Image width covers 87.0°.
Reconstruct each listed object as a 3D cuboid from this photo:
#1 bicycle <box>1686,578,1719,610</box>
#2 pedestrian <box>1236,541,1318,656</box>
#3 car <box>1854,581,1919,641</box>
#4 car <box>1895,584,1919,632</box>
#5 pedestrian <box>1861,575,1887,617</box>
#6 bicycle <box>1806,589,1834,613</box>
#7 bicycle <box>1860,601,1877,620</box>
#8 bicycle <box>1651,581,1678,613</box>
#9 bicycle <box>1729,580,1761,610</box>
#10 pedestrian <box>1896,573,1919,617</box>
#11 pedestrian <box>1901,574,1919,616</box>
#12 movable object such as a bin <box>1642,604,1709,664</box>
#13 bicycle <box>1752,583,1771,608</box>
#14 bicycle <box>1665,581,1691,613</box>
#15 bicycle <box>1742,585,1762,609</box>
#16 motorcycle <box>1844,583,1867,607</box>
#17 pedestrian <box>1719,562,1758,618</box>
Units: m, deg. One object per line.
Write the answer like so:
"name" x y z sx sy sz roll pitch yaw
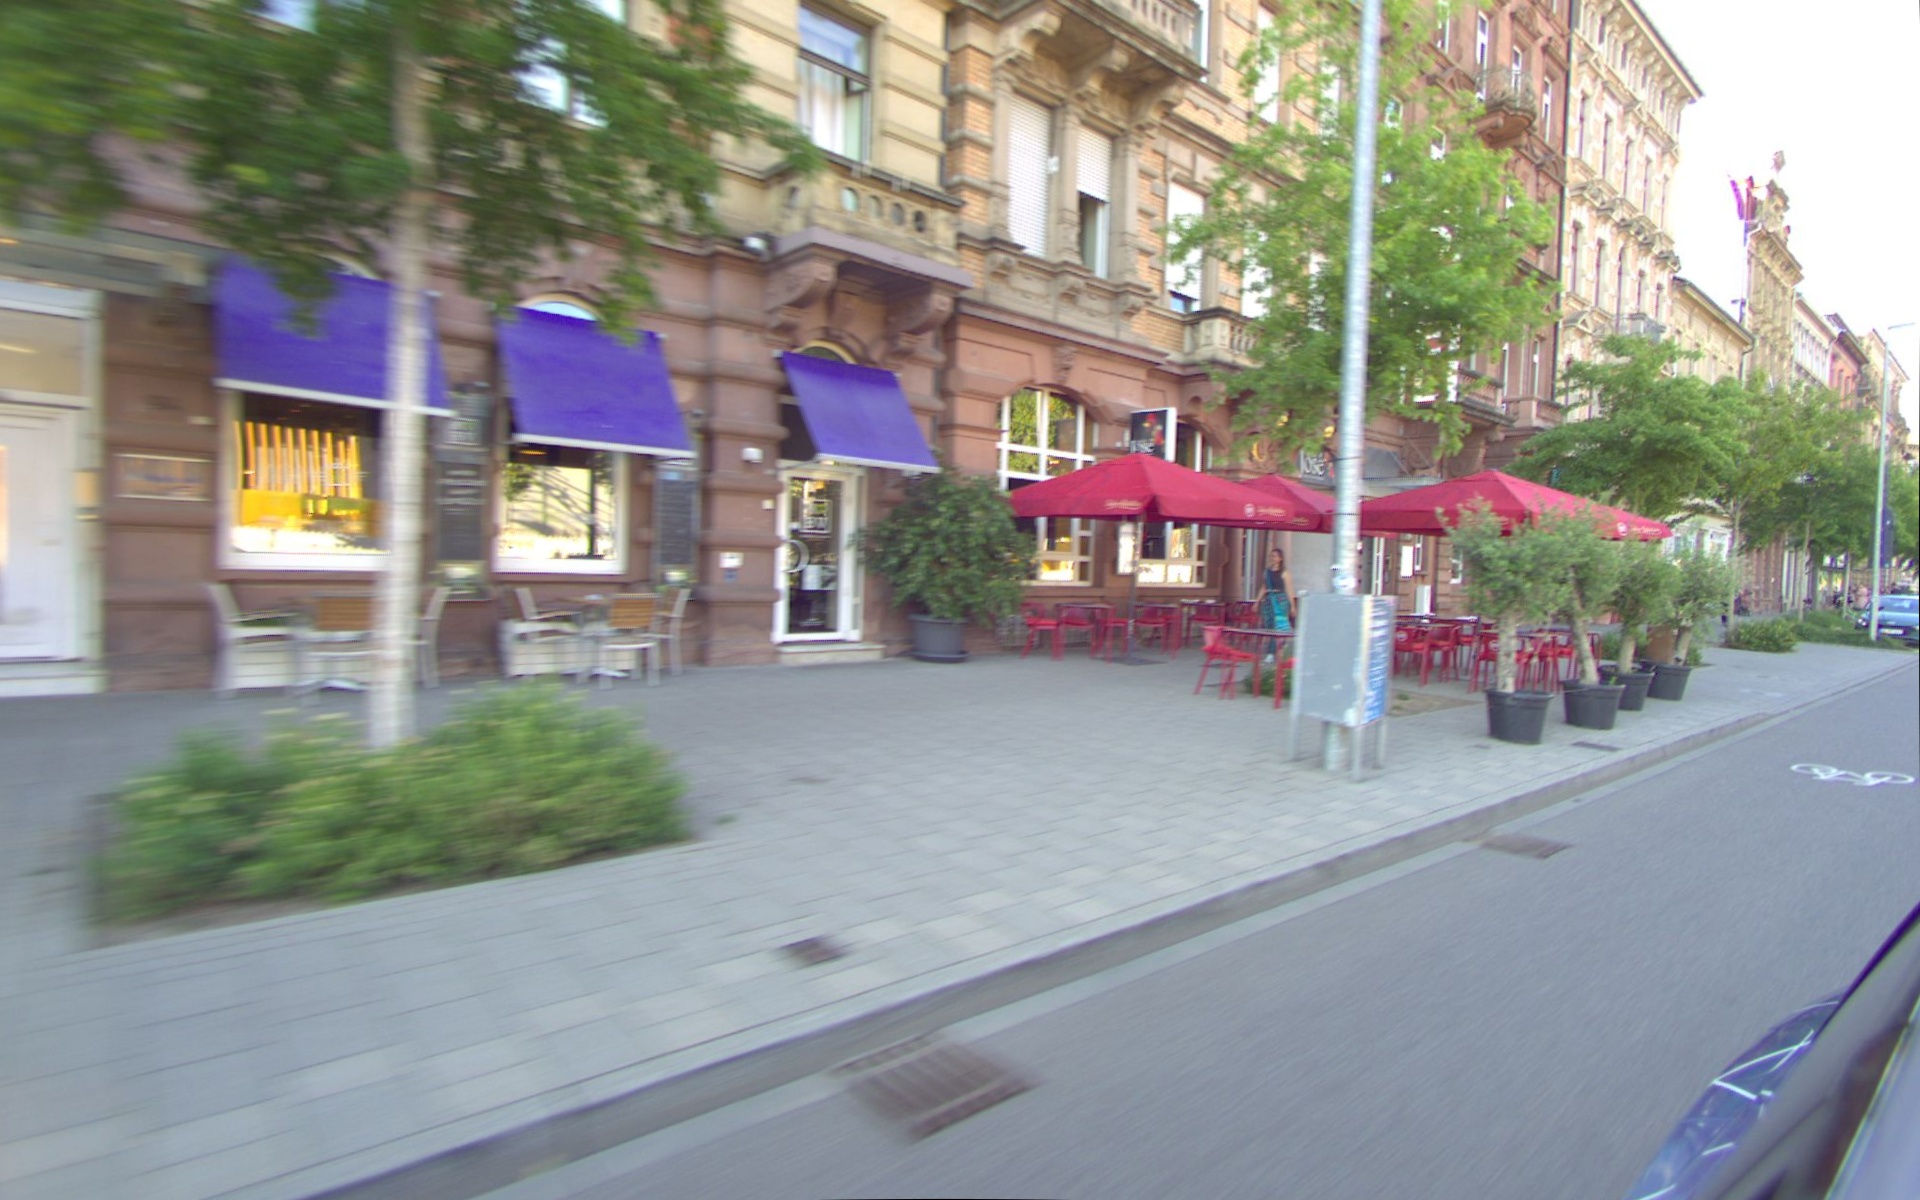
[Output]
"bicycle" 28.536 -0.246 38.886 0.719 1.210 1.744 3 2 45
"pedestrian" 4.498 -0.032 14.368 0.783 1.552 0.729 0 4 -42
"car" 27.823 0.312 29.640 4.222 1.583 1.853 0 4 -41
"car" 32.657 0.289 33.651 5.164 1.471 1.852 0 4 -43
"pedestrian" 38.295 -0.175 42.407 0.566 1.749 0.482 1 1 3
"bicycle" 35.143 0.024 41.342 1.654 0.927 0.655 -1 2 -42
"bicycle" 33.741 0.385 37.586 0.985 0.655 0.355 -1 2 -42
"bicycle" 24.757 -0.101 35.561 1.647 1.093 0.385 0 1 -42
"bicycle" 33.722 -0.228 43.477 2.037 1.235 0.705 -1 2 -42
"pedestrian" 38.786 -0.211 41.422 0.495 1.800 0.473 0 1 -22
"pedestrian" 39.635 -0.216 42.183 0.482 1.749 0.504 0 2 -43
"movable object such as a bin" 12.206 0.572 17.283 0.548 0.935 0.679 1 5 -21
"bicycle" 35.852 -0.198 45.255 2.037 1.078 0.325 -1 2 -42
"bicycle" 25.051 -0.099 35.304 1.647 1.093 0.385 0 1 -42
"bicycle" 35.622 -0.163 45.517 2.037 1.046 0.343 -1 2 -42
"motorcycle" 54.653 -0.324 61.781 2.018 1.439 0.787 0 2 -42
"pedestrian" 25.650 -0.338 33.328 1.053 1.776 0.749 0 3 -41
